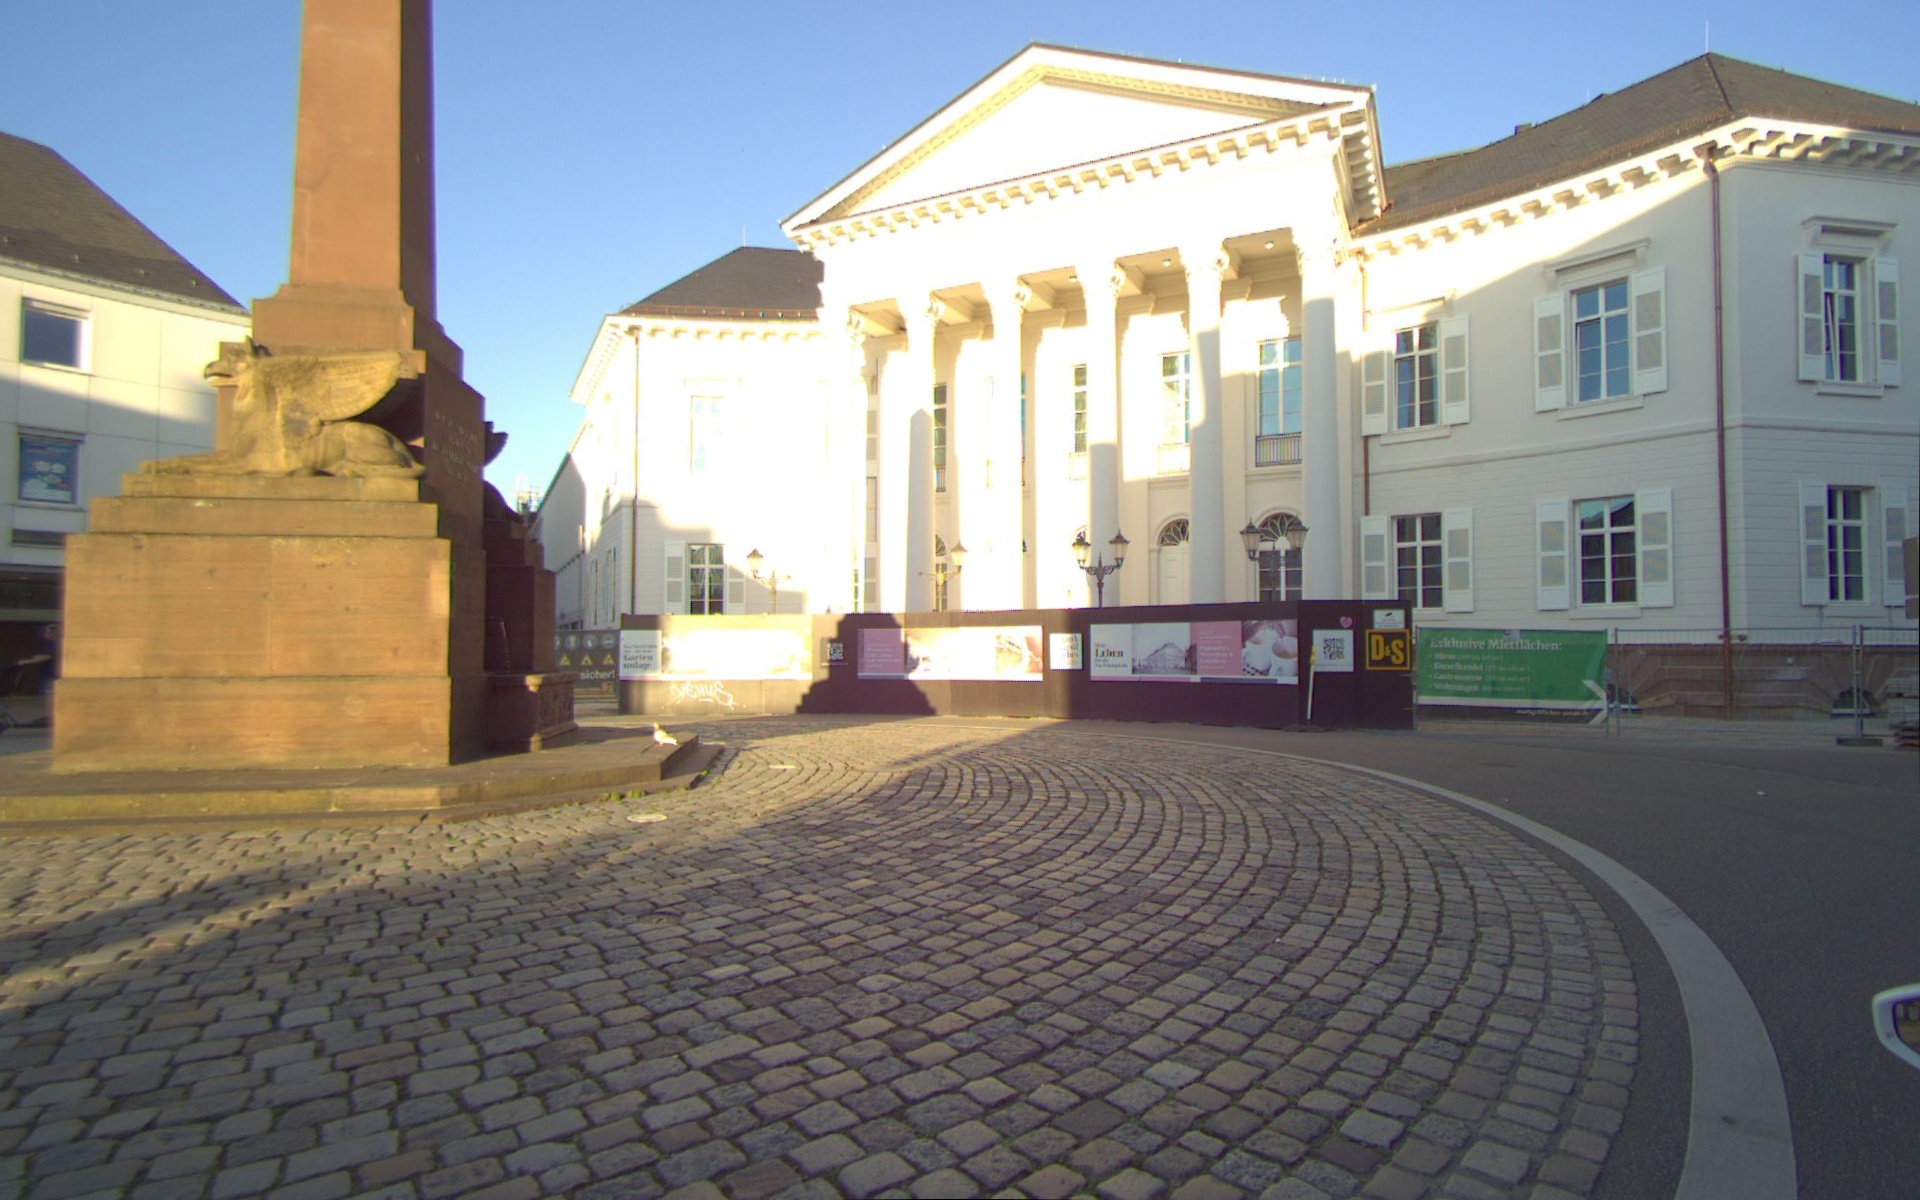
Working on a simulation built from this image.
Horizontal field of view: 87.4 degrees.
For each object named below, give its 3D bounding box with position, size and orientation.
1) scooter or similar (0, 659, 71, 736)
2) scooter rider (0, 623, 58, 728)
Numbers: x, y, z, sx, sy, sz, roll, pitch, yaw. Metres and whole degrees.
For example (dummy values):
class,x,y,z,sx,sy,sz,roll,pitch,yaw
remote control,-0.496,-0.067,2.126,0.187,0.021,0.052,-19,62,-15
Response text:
class,x,y,z,sx,sy,sz,roll,pitch,yaw
scooter or similar,-16.352,1.671,17.331,1.341,1.288,0.683,1,-3,-26
scooter rider,-16.330,1.292,17.361,0.897,1.786,0.682,1,-3,-26
